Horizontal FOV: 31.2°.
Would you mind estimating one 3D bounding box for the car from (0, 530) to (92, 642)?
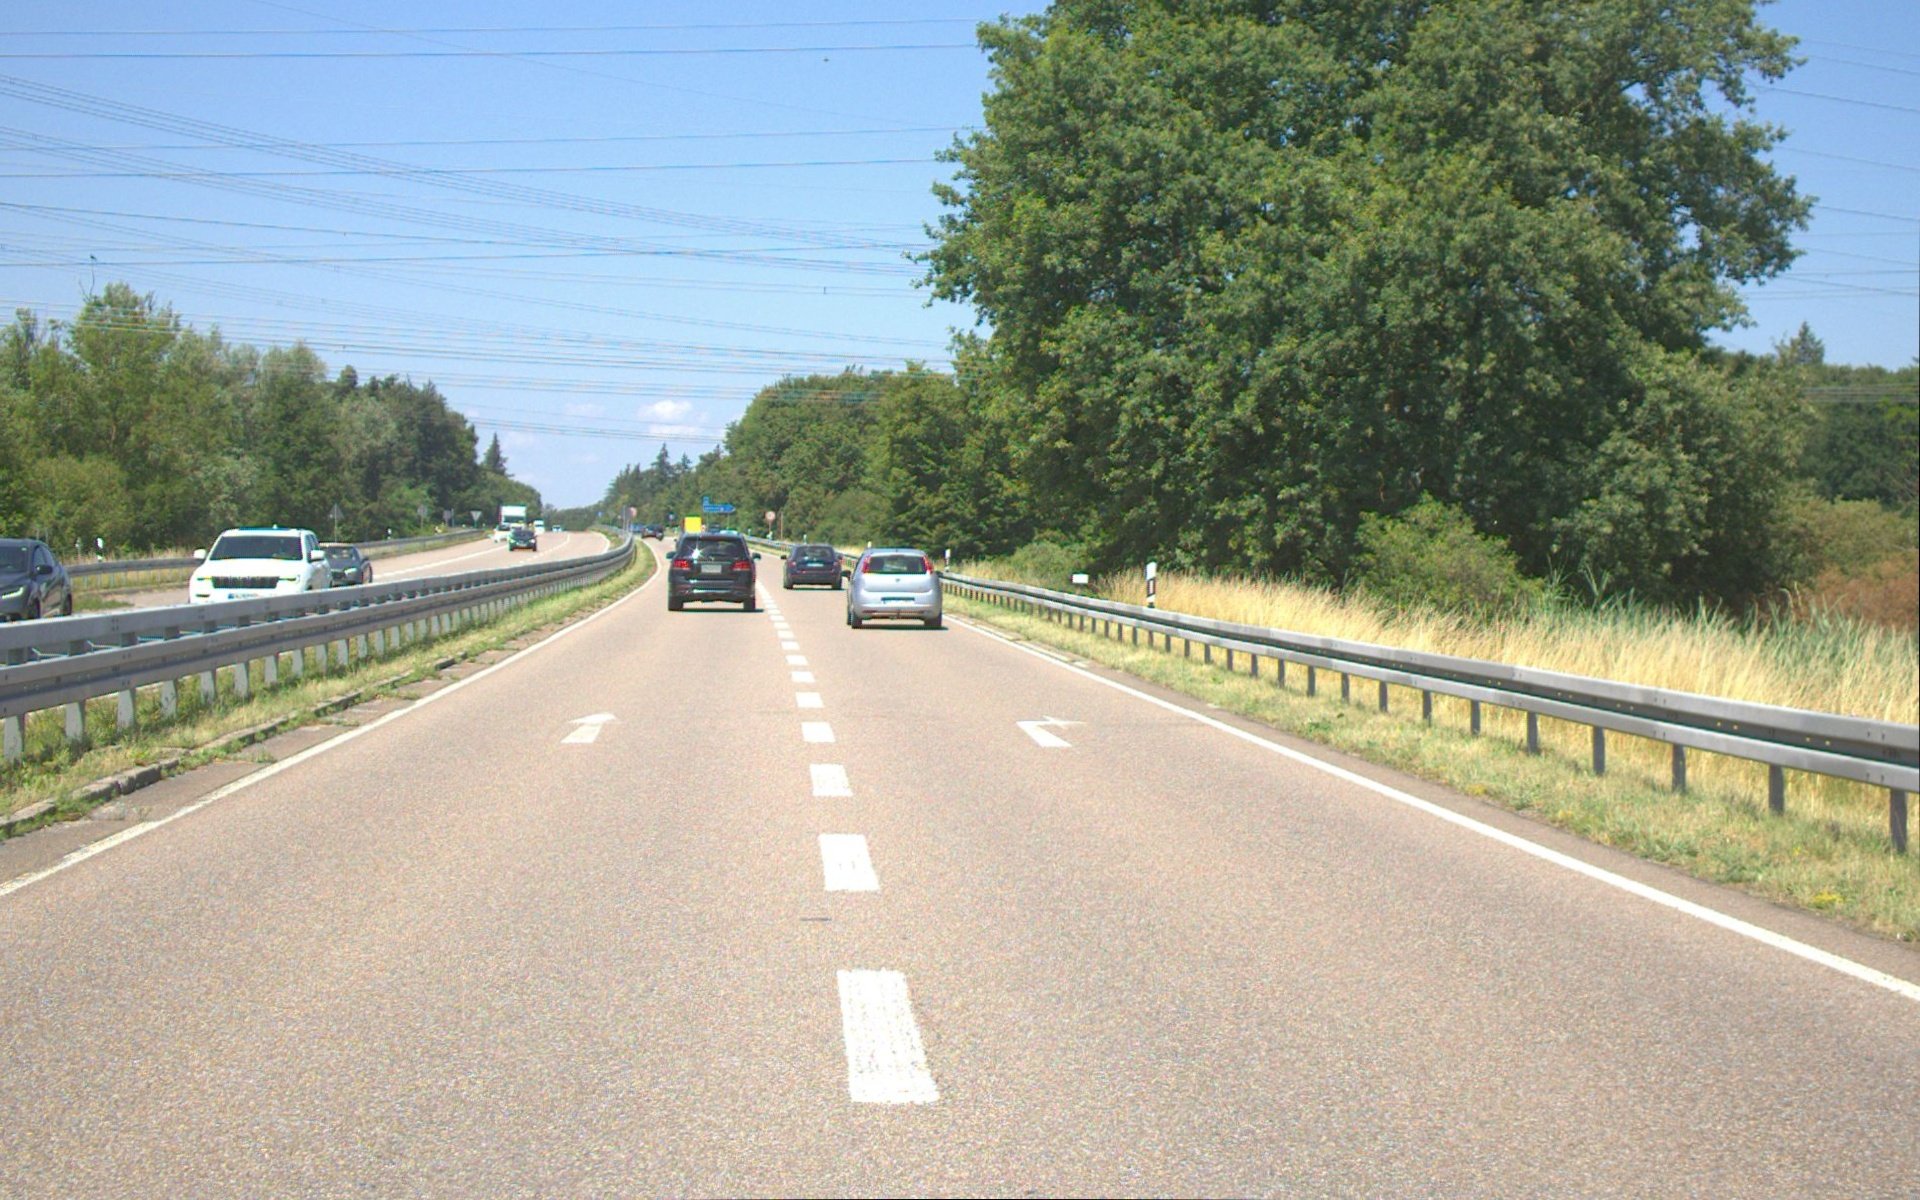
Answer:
[{"bbox_3d":[-14.526,-0.242,52.194,1.842,1.612,4.171,1,1,-3],"label":"car"}]

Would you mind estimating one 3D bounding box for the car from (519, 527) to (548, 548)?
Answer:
[{"bbox_3d":[-28.742,-4.232,231.673,1.844,1.408,4.682,0,1,-8],"label":"car"}]

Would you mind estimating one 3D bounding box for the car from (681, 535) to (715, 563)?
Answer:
[{"bbox_3d":[-14.725,-2.890,193.196,1.712,1.466,3.575,3,1,-6],"label":"car"}]

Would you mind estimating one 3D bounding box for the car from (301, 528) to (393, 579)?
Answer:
[{"bbox_3d":[-16.971,-1.307,95.415,1.924,1.380,4.658,0,1,-3],"label":"car"}]

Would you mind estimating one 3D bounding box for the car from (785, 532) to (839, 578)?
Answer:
[{"bbox_3d":[-4.670,-1.427,108.769,1.640,1.338,3.574,3,1,-2],"label":"car"}]

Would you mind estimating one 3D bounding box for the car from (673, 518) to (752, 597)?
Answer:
[{"bbox_3d":[-5.497,-0.956,76.626,1.640,1.648,3.574,3,1,-3],"label":"car"}]

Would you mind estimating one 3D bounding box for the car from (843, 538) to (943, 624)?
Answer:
[{"bbox_3d":[-1.265,-0.366,63.884,1.640,1.463,3.419,3,1,-4],"label":"car"}]

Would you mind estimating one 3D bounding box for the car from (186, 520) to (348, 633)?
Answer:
[{"bbox_3d":[-11.598,-0.440,57.851,1.979,1.801,4.969,1,1,-3],"label":"car"}]
